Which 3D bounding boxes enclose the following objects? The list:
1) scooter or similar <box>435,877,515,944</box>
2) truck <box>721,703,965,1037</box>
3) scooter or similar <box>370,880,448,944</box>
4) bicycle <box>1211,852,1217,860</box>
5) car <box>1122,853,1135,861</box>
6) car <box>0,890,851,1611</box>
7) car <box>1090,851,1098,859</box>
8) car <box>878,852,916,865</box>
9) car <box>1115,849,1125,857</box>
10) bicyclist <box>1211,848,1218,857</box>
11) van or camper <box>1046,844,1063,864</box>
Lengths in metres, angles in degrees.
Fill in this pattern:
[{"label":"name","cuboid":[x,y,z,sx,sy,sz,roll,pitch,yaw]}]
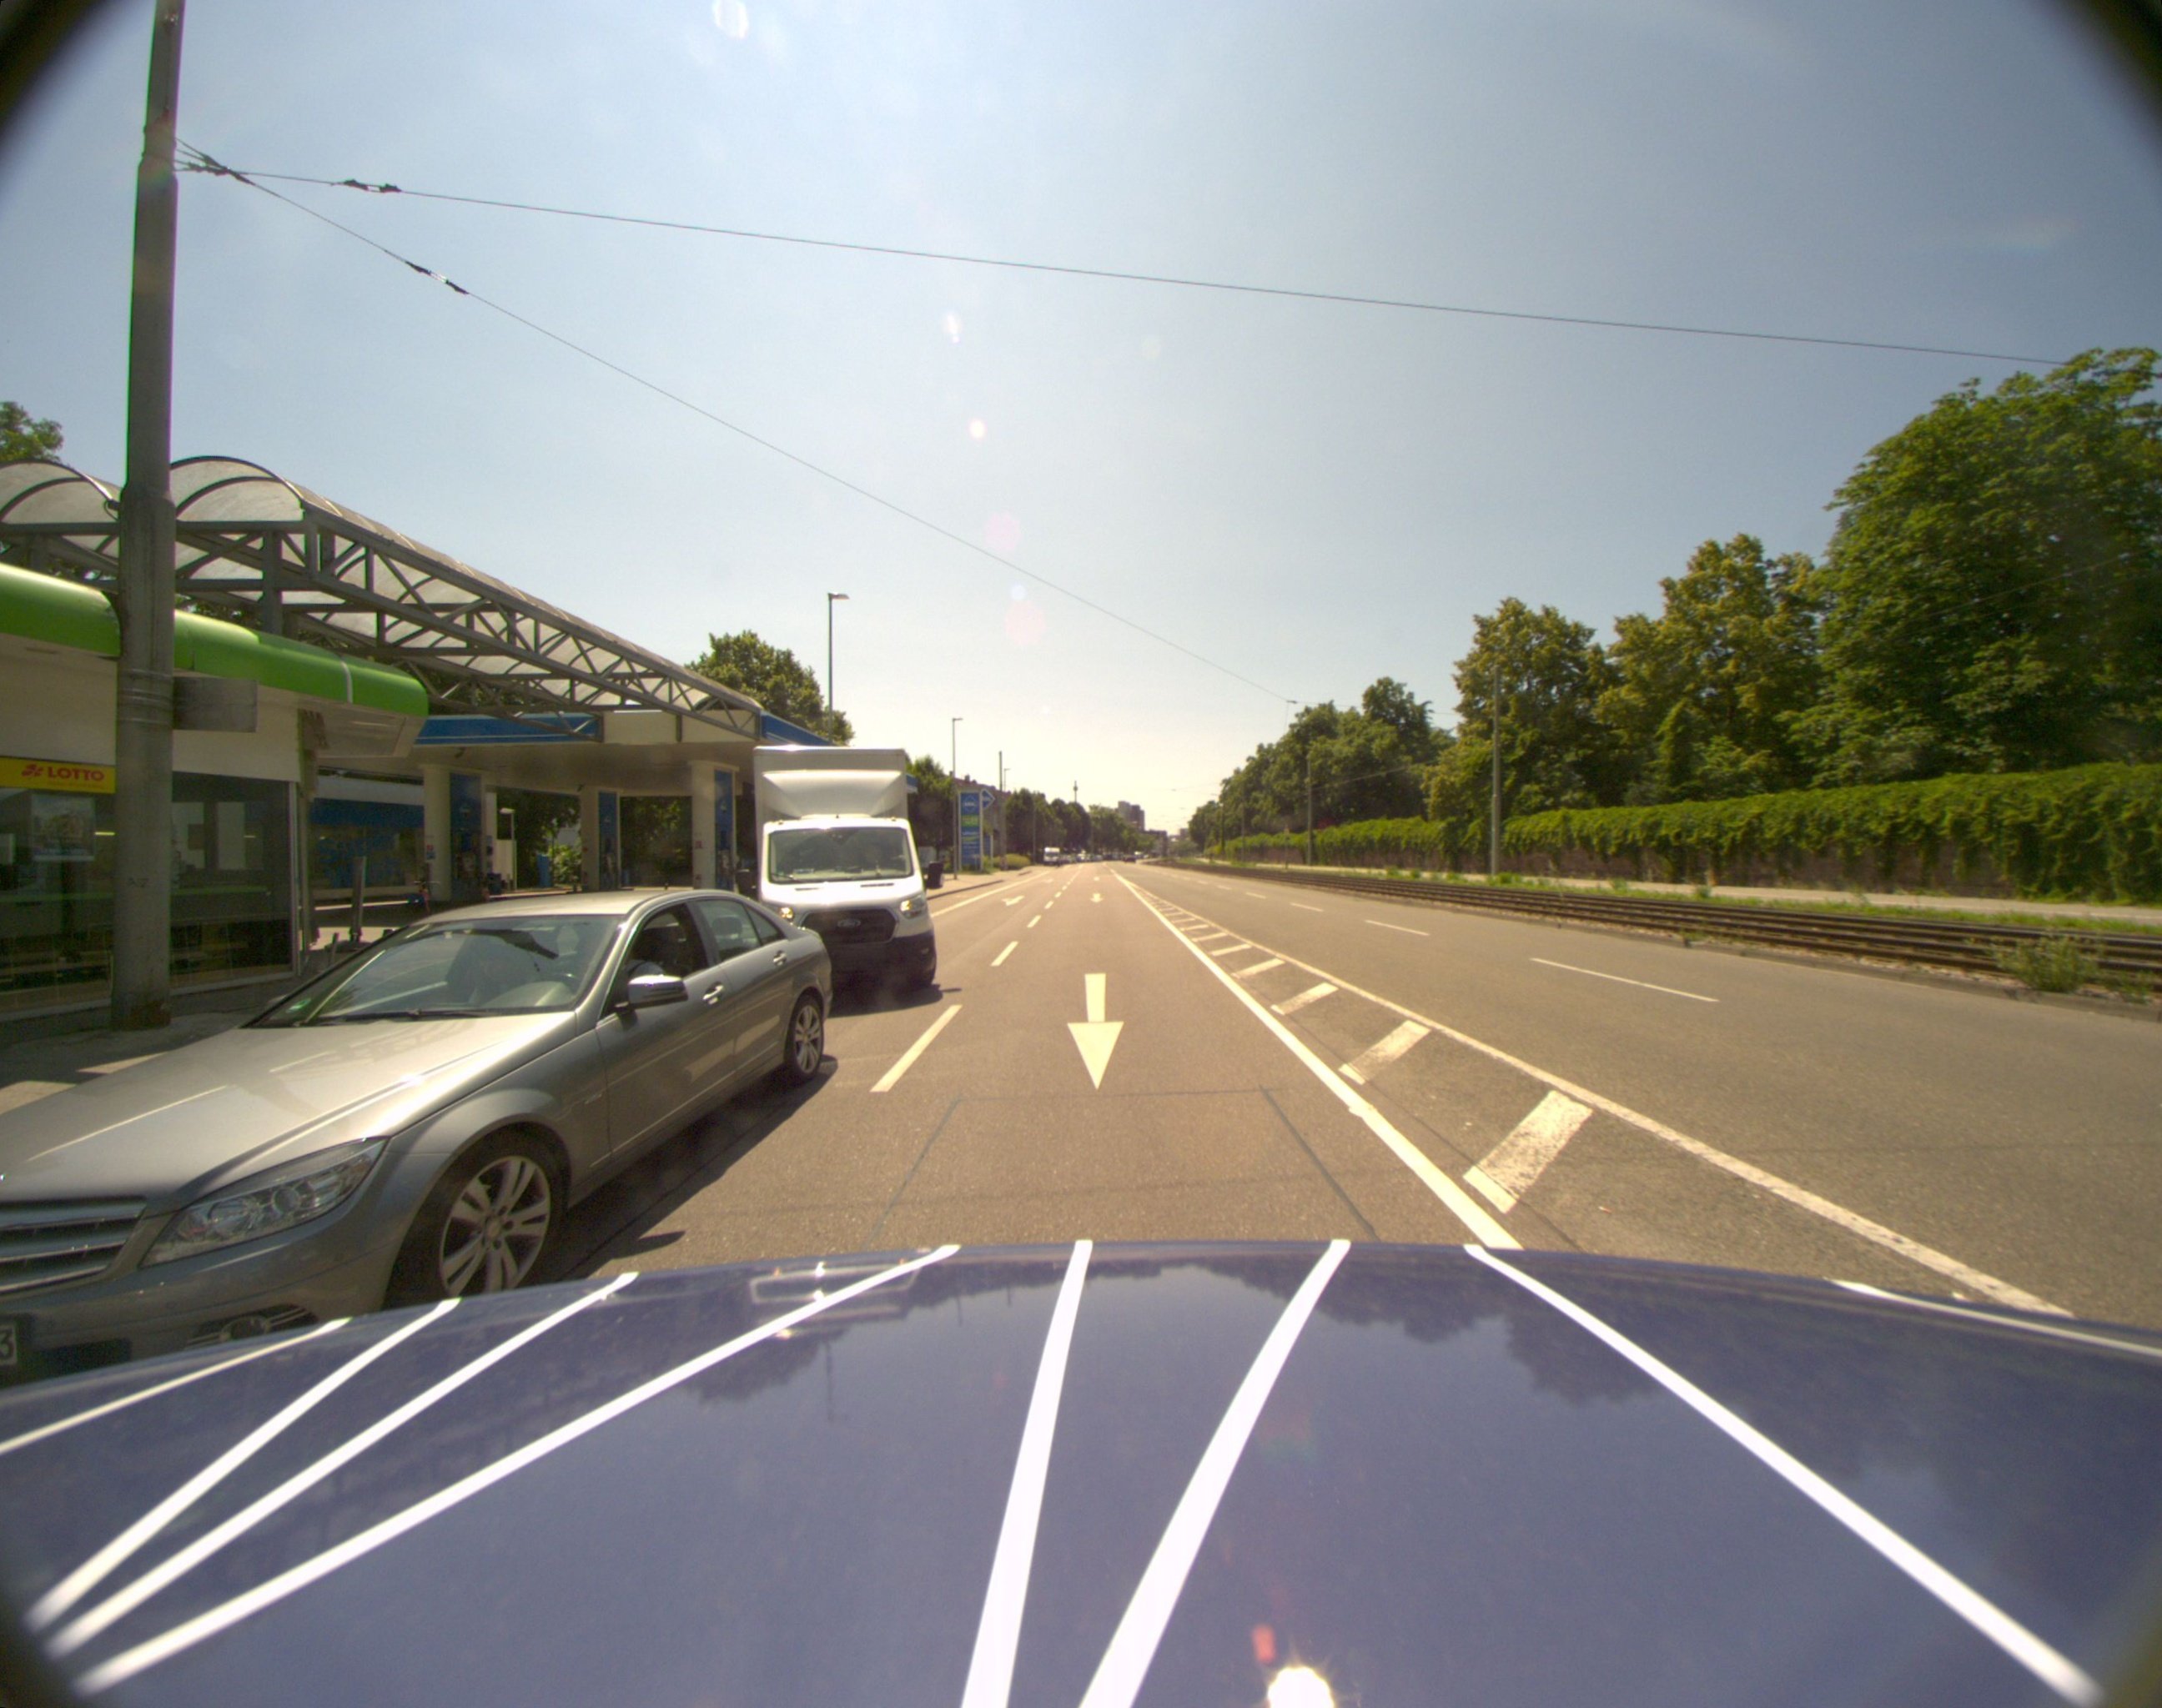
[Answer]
[{"label":"scooter or similar","cuboid":[-11.588,1.082,14.534,1.176,1.233,0.412,-1,1,2]},{"label":"truck","cuboid":[-3.914,0.153,11.747,2.430,3.372,7.818,-1,0,-22]},{"label":"scooter or similar","cuboid":[-12.849,1.100,14.536,1.138,1.170,0.384,-1,1,2]},{"label":"bicycle","cuboid":[20.596,0.286,117.374,0.830,1.149,2.687,-1,0,9]},{"label":"car","cuboid":[8.183,0.468,130.648,1.989,1.350,4.538,-1,0,2]},{"label":"car","cuboid":[-2.861,1.041,3.985,1.800,1.441,4.418,-1,0,2]},{"label":"car","cuboid":[2.879,0.191,170.580,1.806,1.585,4.000,-1,0,1]},{"label":"car","cuboid":[-23.281,0.594,96.433,4.221,1.512,2.001,-1,0,9]},{"label":"car","cuboid":[8.358,-0.189,162.193,1.998,1.608,4.000,-1,0,1]},{"label":"bicyclist","cuboid":[20.594,-0.241,117.543,0.996,1.477,1.001,-1,1,8]},{"label":"van or camper","cuboid":[-3.517,-0.018,101.828,2.126,2.469,5.993,2,0,0]}]
